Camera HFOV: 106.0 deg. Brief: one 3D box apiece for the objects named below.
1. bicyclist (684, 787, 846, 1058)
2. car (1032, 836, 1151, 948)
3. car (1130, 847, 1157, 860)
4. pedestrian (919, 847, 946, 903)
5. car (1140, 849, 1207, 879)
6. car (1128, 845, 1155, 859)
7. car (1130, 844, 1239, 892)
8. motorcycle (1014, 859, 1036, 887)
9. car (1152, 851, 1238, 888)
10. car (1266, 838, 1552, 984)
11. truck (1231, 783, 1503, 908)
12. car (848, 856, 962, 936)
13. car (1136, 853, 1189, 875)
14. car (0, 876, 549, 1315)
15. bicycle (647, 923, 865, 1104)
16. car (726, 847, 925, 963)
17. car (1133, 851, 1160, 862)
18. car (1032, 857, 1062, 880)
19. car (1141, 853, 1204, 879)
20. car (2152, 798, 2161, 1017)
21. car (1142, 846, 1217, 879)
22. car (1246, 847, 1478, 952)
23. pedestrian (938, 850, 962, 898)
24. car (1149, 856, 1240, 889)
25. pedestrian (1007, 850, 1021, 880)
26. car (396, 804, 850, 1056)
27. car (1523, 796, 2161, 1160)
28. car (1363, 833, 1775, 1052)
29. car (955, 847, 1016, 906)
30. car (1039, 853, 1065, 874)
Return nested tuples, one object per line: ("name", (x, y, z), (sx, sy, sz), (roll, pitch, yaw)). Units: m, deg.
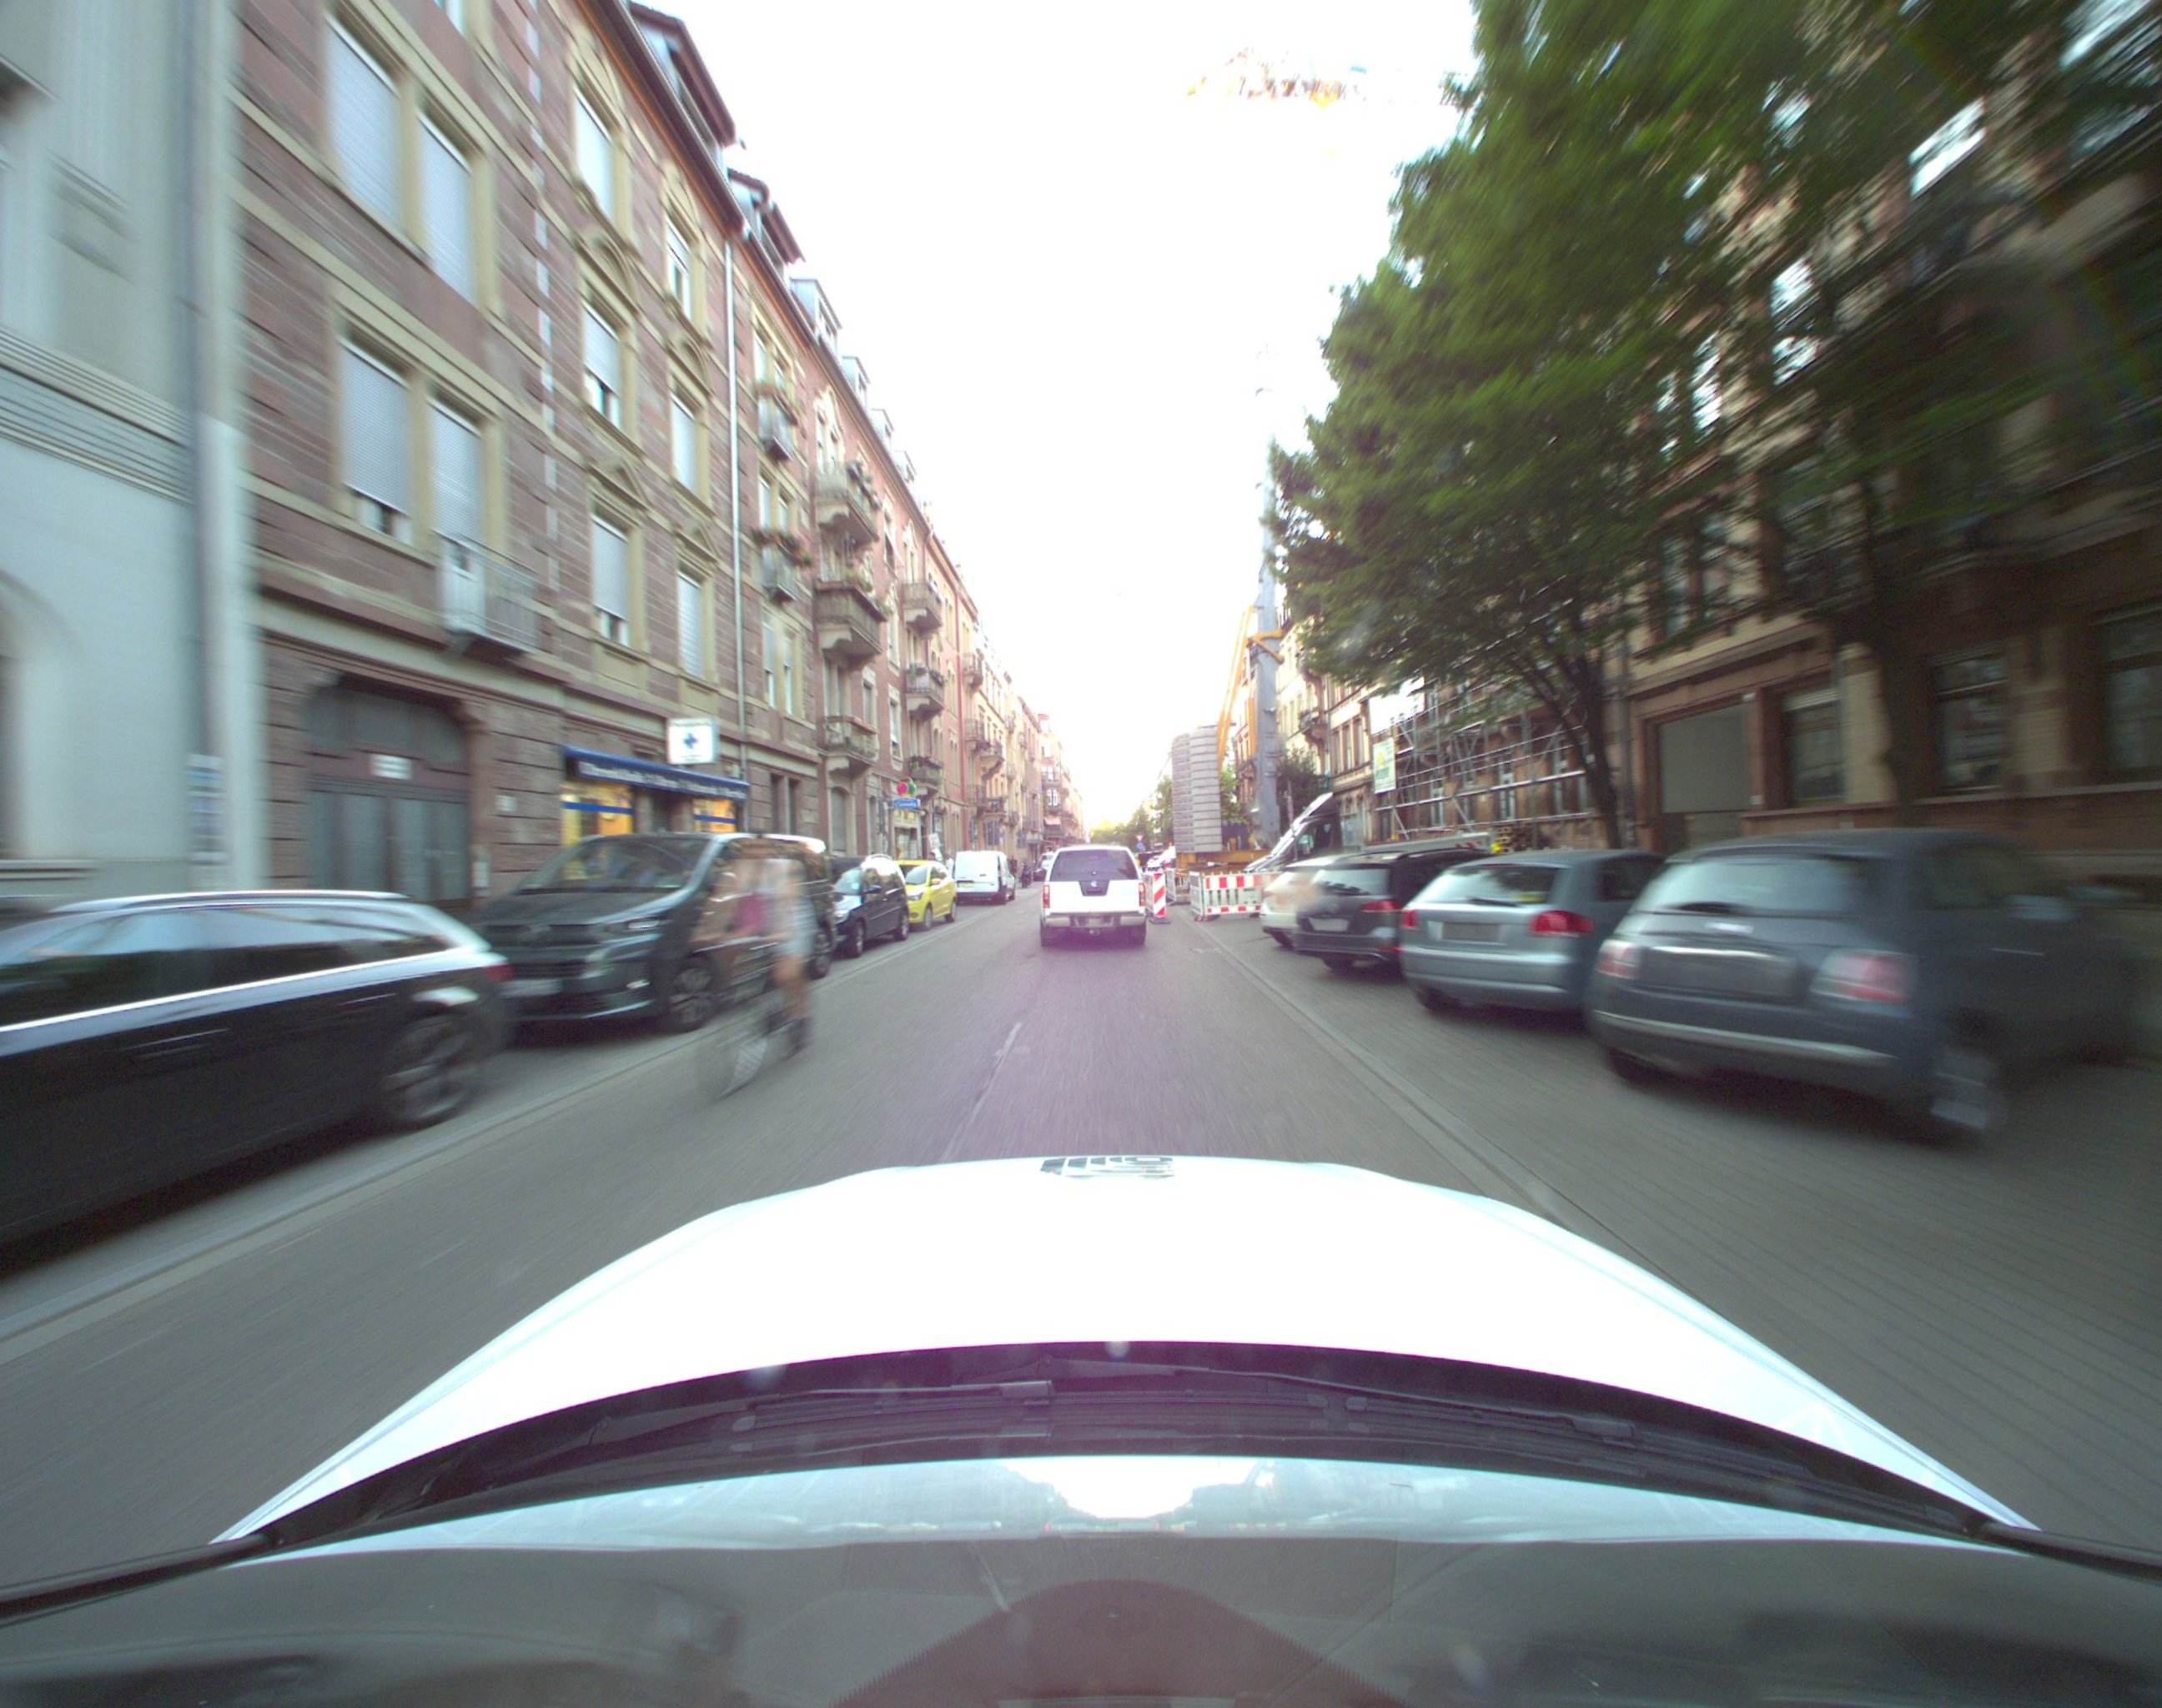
("bicyclist", (-2.320, 0.473, 6.094), (0.798, 1.849, 0.943), (-1, 0, 0))
("car", (0.102, 0.629, 15.687), (1.928, 1.794, 4.618), (-1, 0, -2))
("car", (11.063, -0.167, 144.126), (4.566, 2.177, 1.822), (-1, 0, 4))
("pedestrian", (-4.992, 0.696, 27.384), (0.735, 1.869, 0.618), (-1, -1, 1))
("car", (5.926, 0.633, 52.485), (4.175, 1.780, 1.822), (-1, 0, 4))
("car", (10.311, -0.350, 139.381), (4.566, 2.177, 1.822), (-1, 0, 4))
("car", (4.130, 0.564, 32.544), (4.172, 1.780, 1.823), (-1, 0, 7))
("motorcycle", (-2.956, 0.997, 43.331), (0.833, 1.416, 2.551), (-1, 0, 3))
("car", (5.807, 0.770, 41.490), (4.172, 1.780, 1.823), (-1, 0, 7))
("car", (4.317, 0.593, 10.482), (3.912, 1.530, 1.619), (-1, 0, -38))
("truck", (7.307, -0.152, 21.431), (6.293, 2.977, 2.266), (-1, -3, 3))
("car", (-3.910, 0.870, 18.729), (1.493, 1.593, 3.860), (-2, 0, 4))
("car", (6.634, 0.808, 66.390), (4.175, 1.622, 1.822), (-1, 0, 4))
("car", (-4.733, 0.901, 3.388), (1.904, 1.472, 4.536), (-1, 0, 2))
("bicycle", (-2.300, 1.080, 6.099), (0.797, 0.947, 2.004), (-1, 0, 0))
("car", (-4.222, 0.774, 14.202), (1.896, 1.663, 4.072), (-2, 0, 4))
("car", (10.245, 0.402, 127.556), (4.175, 1.622, 1.822), (-1, 0, 4))
("car", (-2.355, 0.987, 57.371), (1.784, 1.530, 4.003), (-1, 0, 3))
("car", (6.187, 0.777, 55.187), (4.175, 1.622, 1.822), (-1, 0, 4))
("car", (4.397, 0.497, 1.934), (3.417, 1.474, 1.758), (-4, 1, -29))
("car", (5.627, 0.493, 46.811), (4.175, 1.780, 1.822), (-1, 0, 4))
("car", (4.617, 0.665, 13.330), (3.570, 1.464, 1.596), (-1, 0, -29))
("pedestrian", (-5.250, 0.800, 32.679), (0.610, 1.869, 0.745), (-2, -1, 25))
("car", (5.415, 0.886, 39.004), (4.172, 1.429, 1.823), (-1, 0, 7))
("pedestrian", (-4.548, 0.762, 55.449), (0.785, 2.014, 0.935), (-1, -1, 2))
("car", (-4.300, 0.606, 8.842), (1.897, 1.925, 4.950), (-1, 0, 3))
("car", (4.982, 0.515, 5.196), (3.842, 1.530, 1.749), (-3, -1, -24))
("car", (4.660, 0.627, 7.644), (3.852, 1.436, 1.744), (-3, 0, -33))
("car", (-3.250, 0.745, 28.446), (1.553, 1.921, 3.858), (0, 0, 2))
("car", (-2.239, 0.689, 63.151), (1.703, 1.530, 4.002), (-1, 0, 2))
